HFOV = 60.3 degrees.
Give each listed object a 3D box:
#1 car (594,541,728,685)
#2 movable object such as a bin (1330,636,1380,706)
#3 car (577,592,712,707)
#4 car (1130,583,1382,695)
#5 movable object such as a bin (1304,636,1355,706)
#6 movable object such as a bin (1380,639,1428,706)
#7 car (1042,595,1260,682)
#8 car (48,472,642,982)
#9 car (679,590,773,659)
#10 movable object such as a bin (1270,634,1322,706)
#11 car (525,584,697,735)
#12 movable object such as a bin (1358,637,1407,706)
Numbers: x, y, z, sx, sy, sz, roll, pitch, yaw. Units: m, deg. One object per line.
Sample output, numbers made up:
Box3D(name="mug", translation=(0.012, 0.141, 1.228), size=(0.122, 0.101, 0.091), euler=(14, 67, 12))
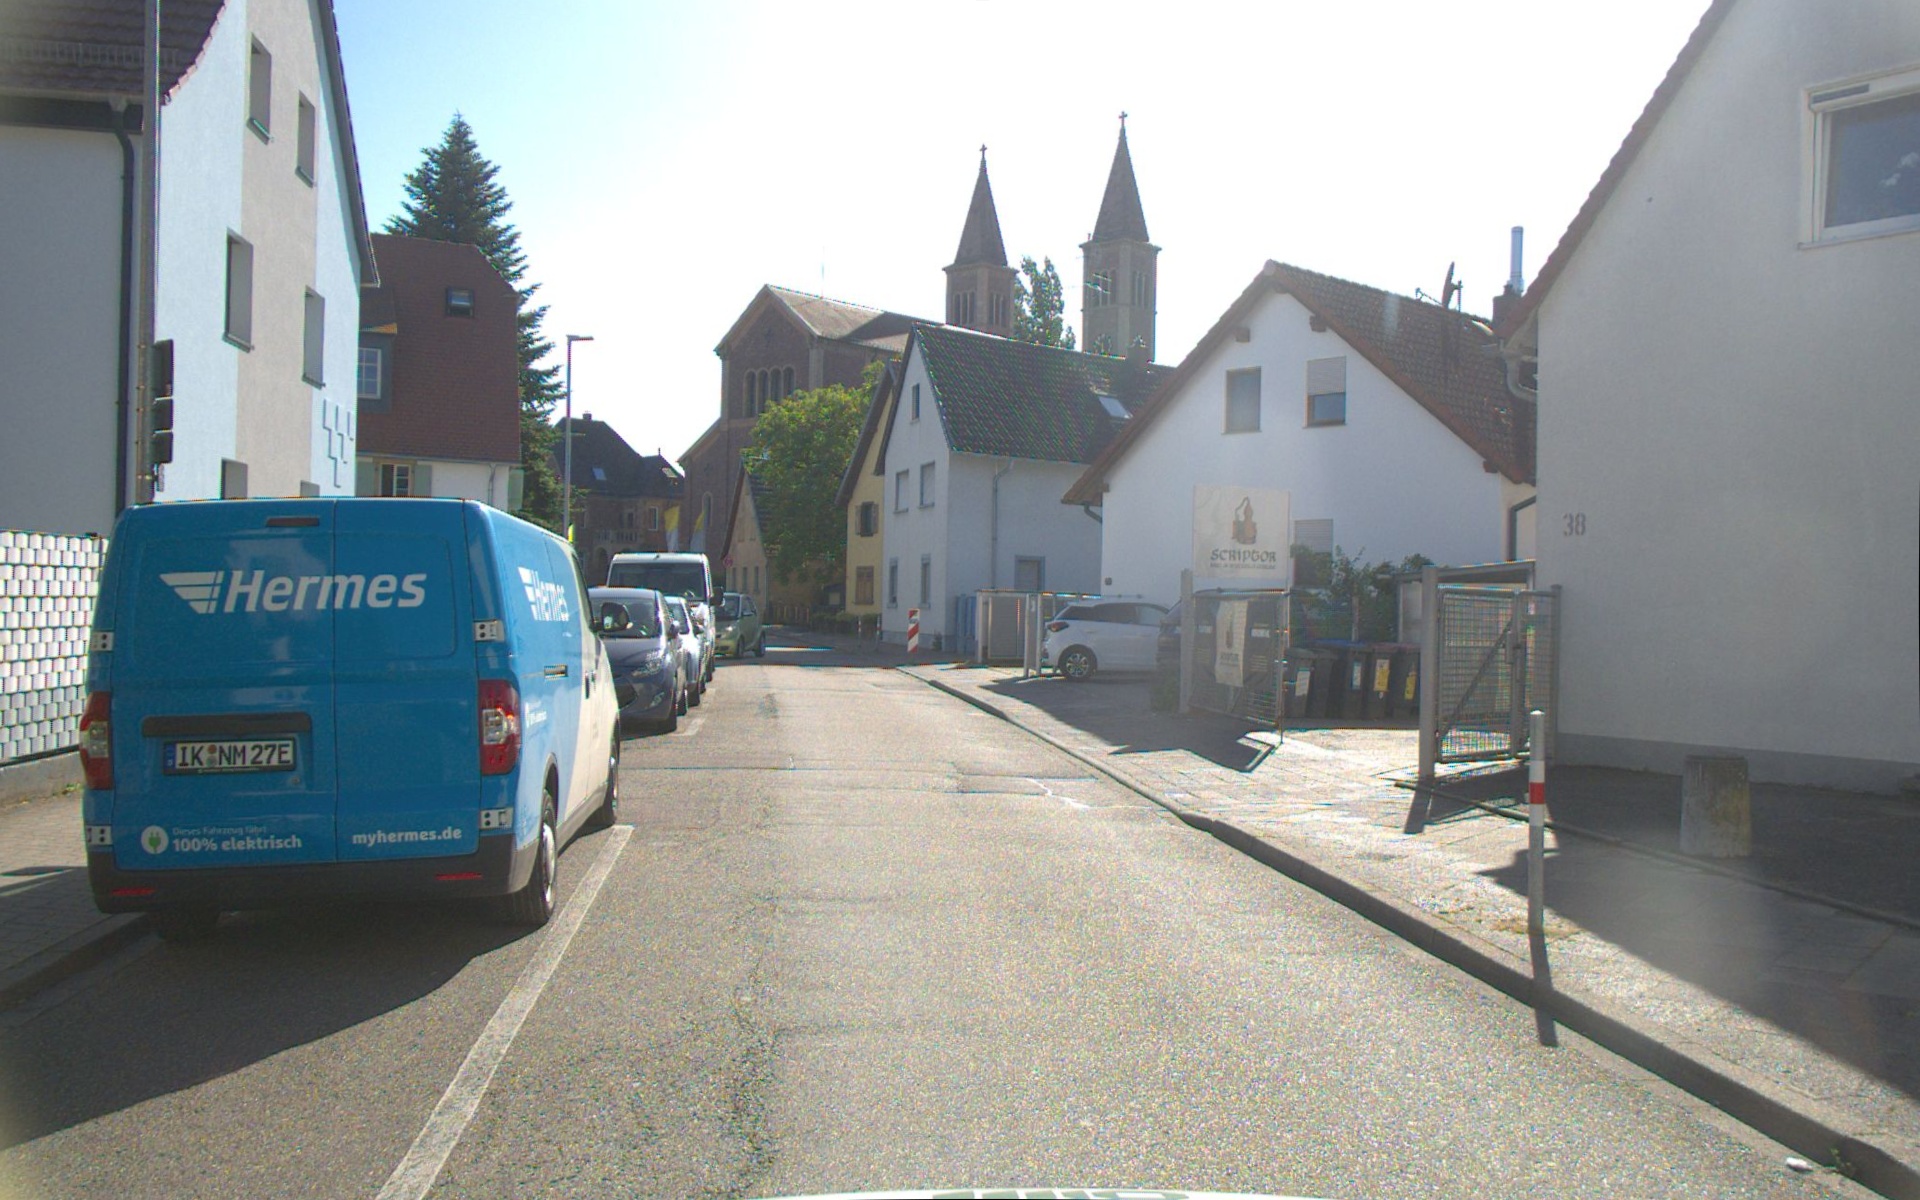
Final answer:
Box3D(name="car", translation=(-5.549, 0.198, 31.400), size=(2.155, 2.431, 6.054), euler=(-1, 0, -7))
Box3D(name="movable object such as a bin", translation=(5.512, 0.993, 23.093), size=(0.511, 0.939, 0.417), euler=(4, -2, -37))
Box3D(name="car", translation=(-4.560, 0.655, 24.388), size=(1.679, 1.530, 4.228), euler=(0, 0, -7))
Box3D(name="car", translation=(4.943, 0.598, 27.429), size=(4.003, 1.718, 1.888), euler=(0, 0, -36))
Box3D(name="movable object such as a bin", translation=(5.091, 0.976, 22.771), size=(0.511, 0.939, 0.417), euler=(4, -2, -37))
Box3D(name="movable object such as a bin", translation=(6.436, 1.046, 23.984), size=(0.511, 0.939, 0.417), euler=(4, -2, -37))
Box3D(name="car", translation=(3.439, 0.686, 30.340), size=(3.831, 1.518, 1.847), euler=(0, 0, 1))
Box3D(name="car", translation=(-2.856, 0.477, 8.959), size=(1.866, 1.951, 5.062), euler=(0, 0, -7))
Box3D(name="car", translation=(-5.628, 0.561, 40.046), size=(1.540, 1.573, 2.967), euler=(1, 0, 6))
Box3D(name="movable object such as a bin", translation=(4.556, 0.947, 22.435), size=(0.511, 0.939, 0.417), euler=(4, -2, -37))
Box3D(name="car", translation=(-4.074, 0.631, 19.792), size=(1.682, 1.626, 3.919), euler=(0, 0, -7))
Box3D(name="movable object such as a bin", translation=(5.988, 1.010, 23.441), size=(0.511, 0.939, 0.417), euler=(4, -2, -37))
